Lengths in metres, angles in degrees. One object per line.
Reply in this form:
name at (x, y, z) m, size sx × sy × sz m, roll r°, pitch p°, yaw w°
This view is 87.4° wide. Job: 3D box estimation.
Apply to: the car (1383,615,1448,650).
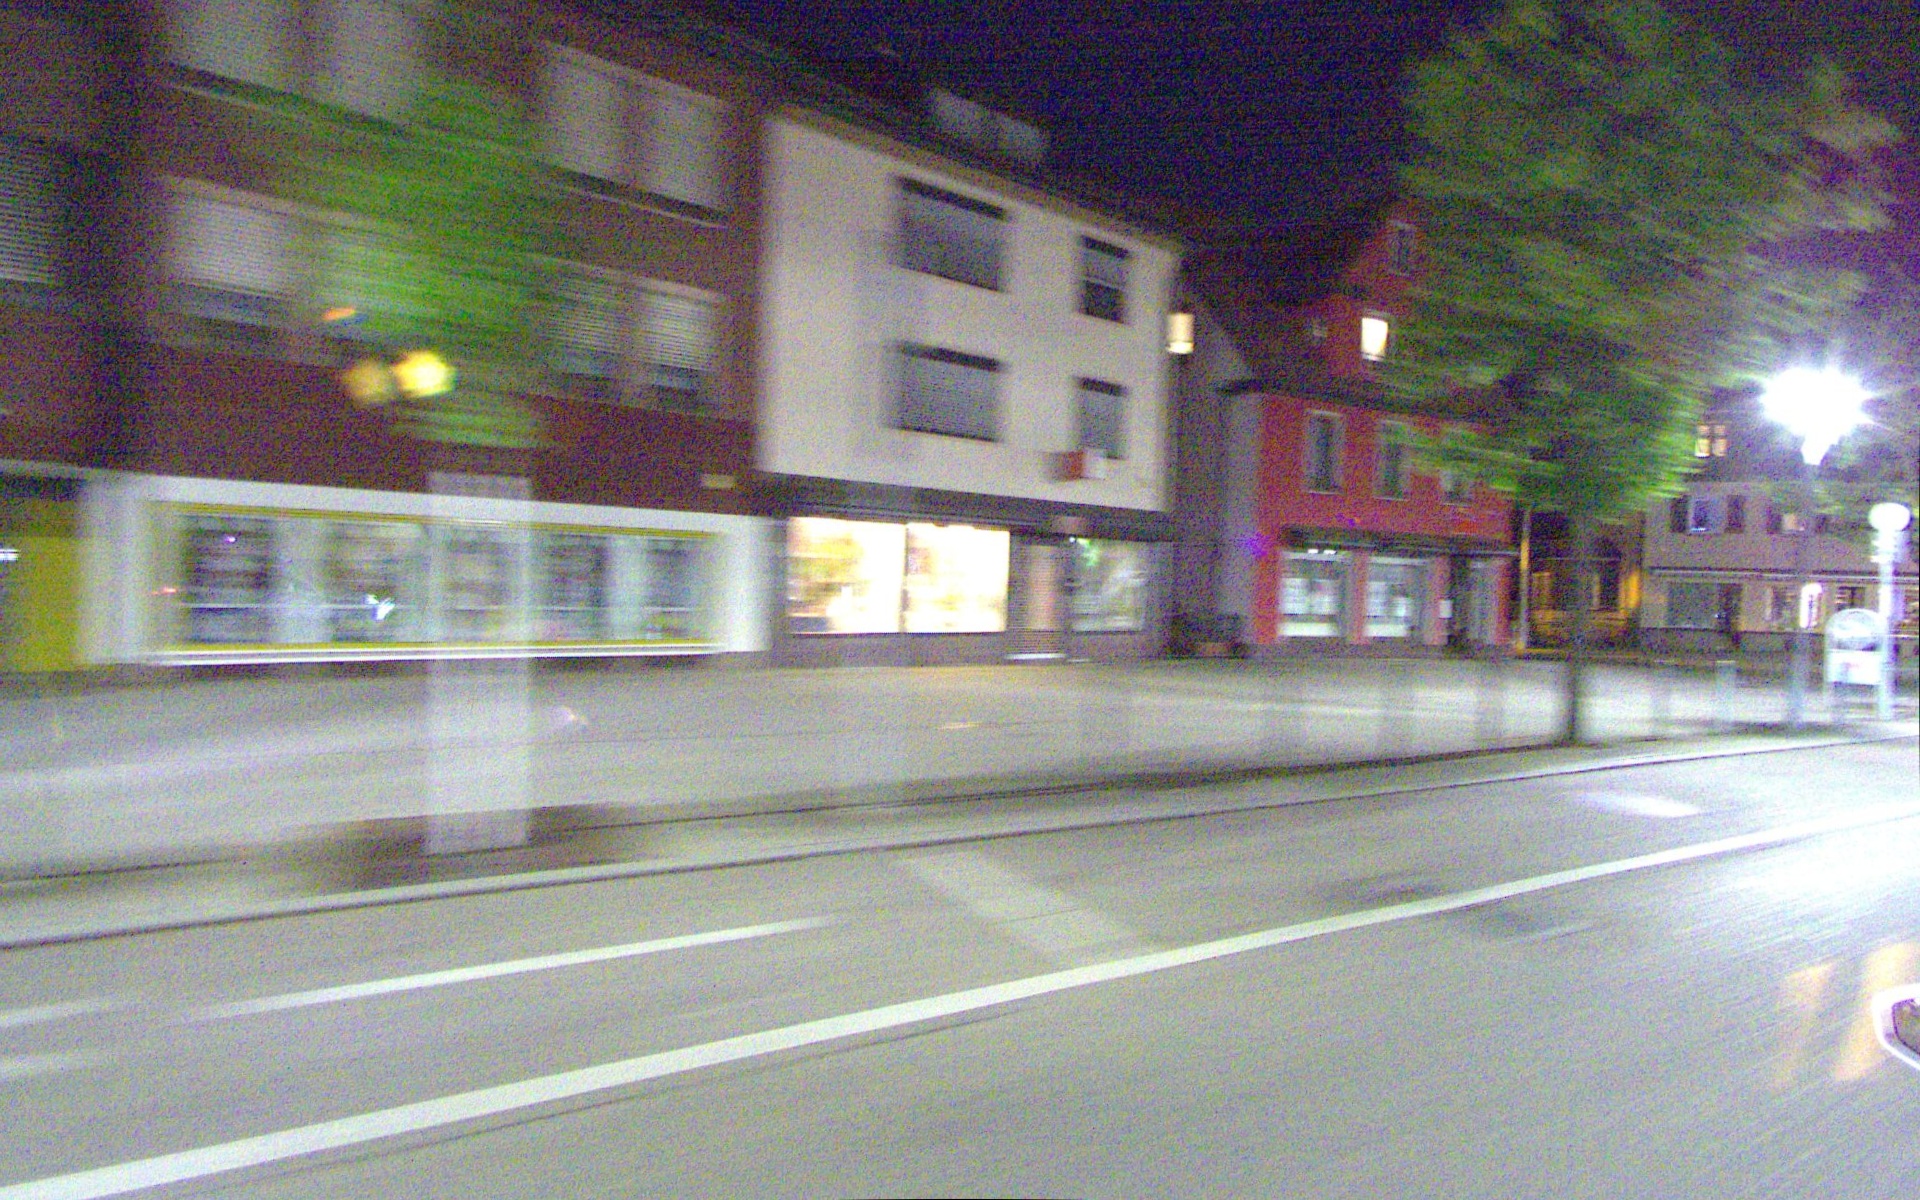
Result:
car at (20.444, 1.445, 45.236) m, size 1.882 × 1.461 × 4.002 m, roll 0°, pitch 0°, yaw 13°
